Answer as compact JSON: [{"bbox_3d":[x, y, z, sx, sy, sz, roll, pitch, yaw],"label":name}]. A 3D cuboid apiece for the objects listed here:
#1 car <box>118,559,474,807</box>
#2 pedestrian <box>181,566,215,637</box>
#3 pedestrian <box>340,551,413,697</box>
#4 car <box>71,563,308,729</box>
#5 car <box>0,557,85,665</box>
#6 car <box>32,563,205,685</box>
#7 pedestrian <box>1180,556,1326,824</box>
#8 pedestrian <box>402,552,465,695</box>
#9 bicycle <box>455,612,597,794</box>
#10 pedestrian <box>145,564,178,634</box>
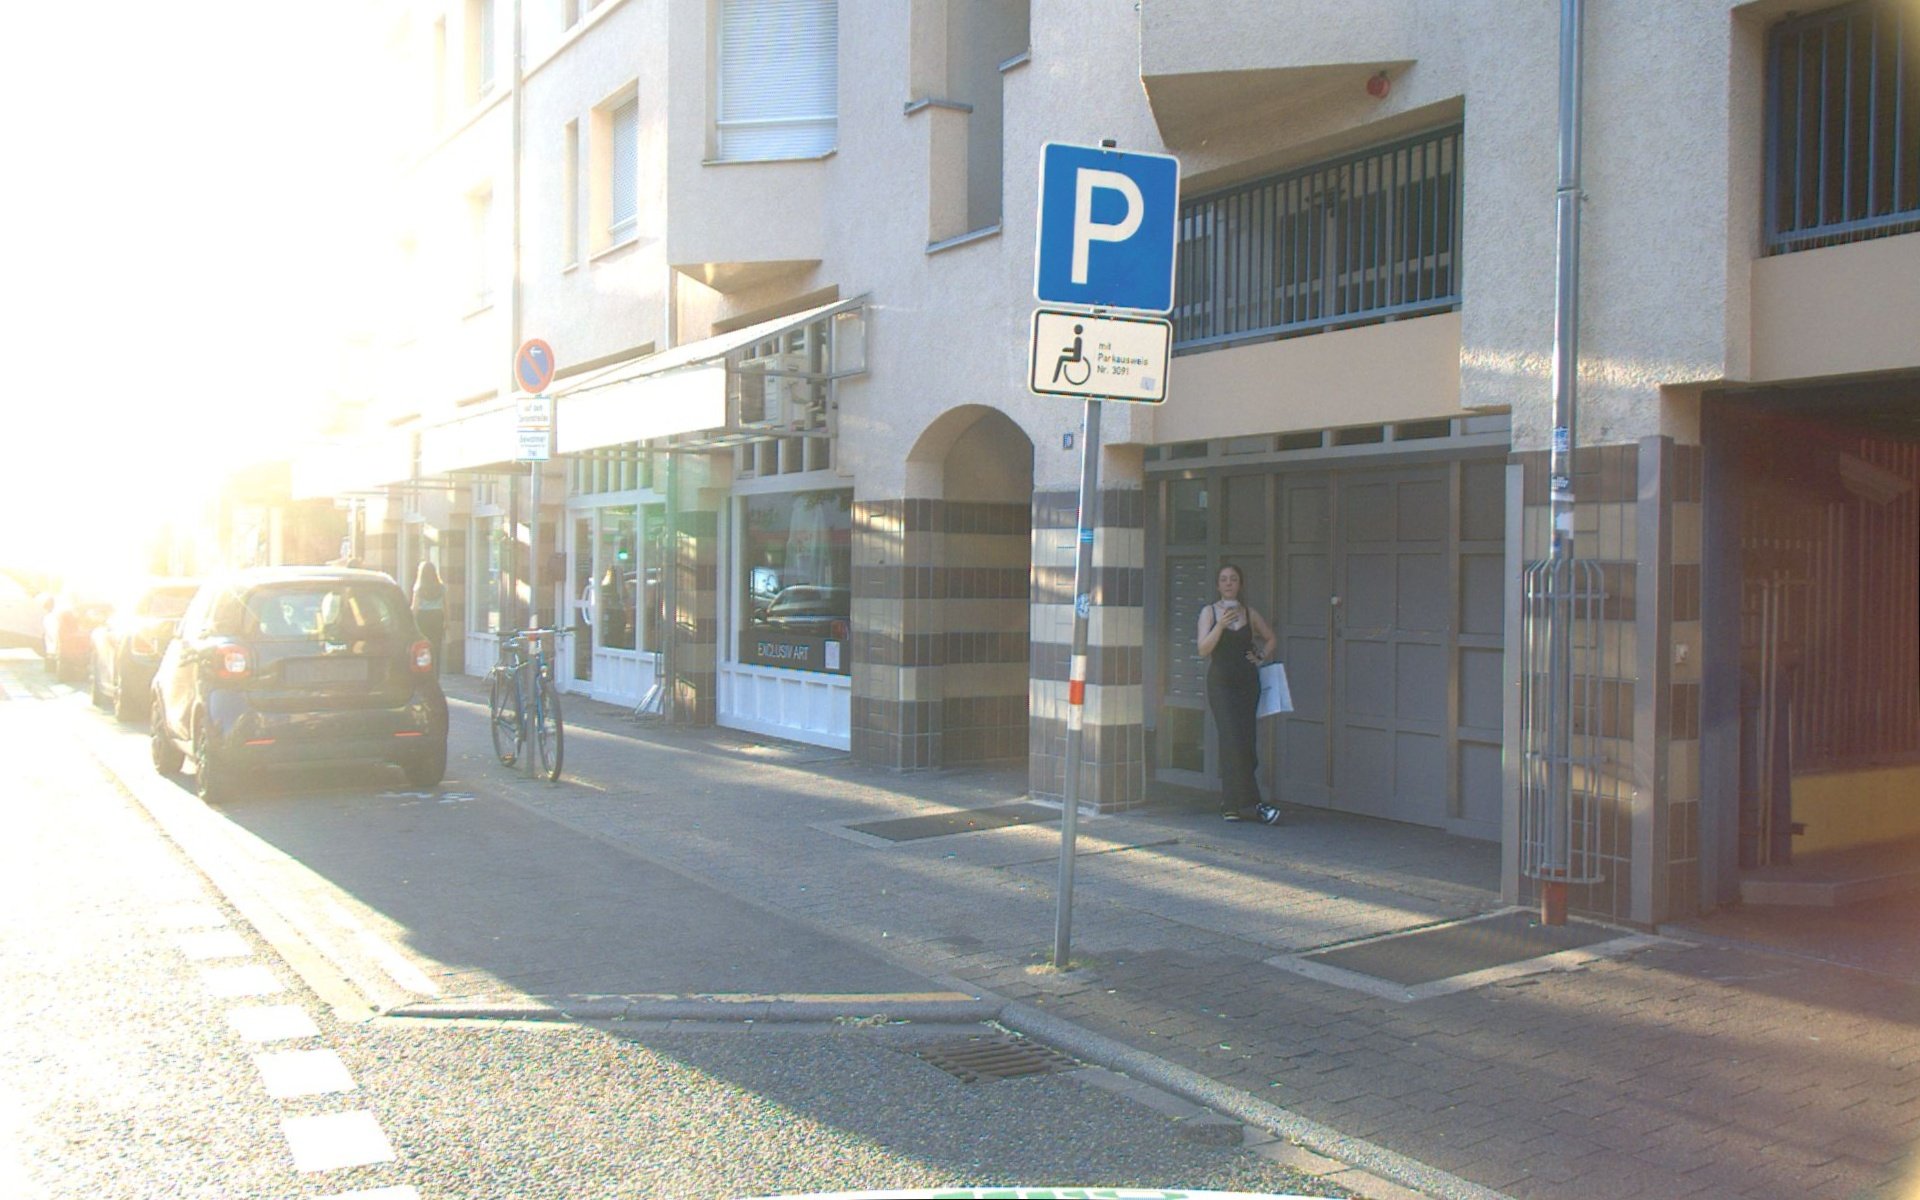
[{"bbox_3d":[-5.276,0.501,12.848,1.774,1.607,3.919,0,1,-34],"label":"car"},{"bbox_3d":[-19.766,0.034,42.916,0.711,1.822,0.659,-1,1,-32],"label":"pedestrian"},{"bbox_3d":[-7.167,0.276,20.309,0.624,1.729,1.028,0,1,-33],"label":"pedestrian"},{"bbox_3d":[-8.502,0.414,18.099,1.774,1.607,3.741,0,1,-34],"label":"car"},{"bbox_3d":[-16.312,0.146,26.838,1.834,1.727,4.321,2,0,1],"label":"car"},{"bbox_3d":[-12.251,0.286,23.969,1.774,1.607,3.741,0,1,-34],"label":"car"},{"bbox_3d":[1.795,0.538,10.193,0.761,1.600,0.533,1,1,-6],"label":"pedestrian"},{"bbox_3d":[-6.545,0.274,20.556,0.554,1.729,0.822,0,1,-33],"label":"pedestrian"},{"bbox_3d":[-3.340,0.734,12.608,0.552,1.227,1.958,0,1,-30],"label":"bicycle"},{"bbox_3d":[-20.878,-0.038,43.243,0.711,1.822,0.659,-1,1,-32],"label":"pedestrian"}]
